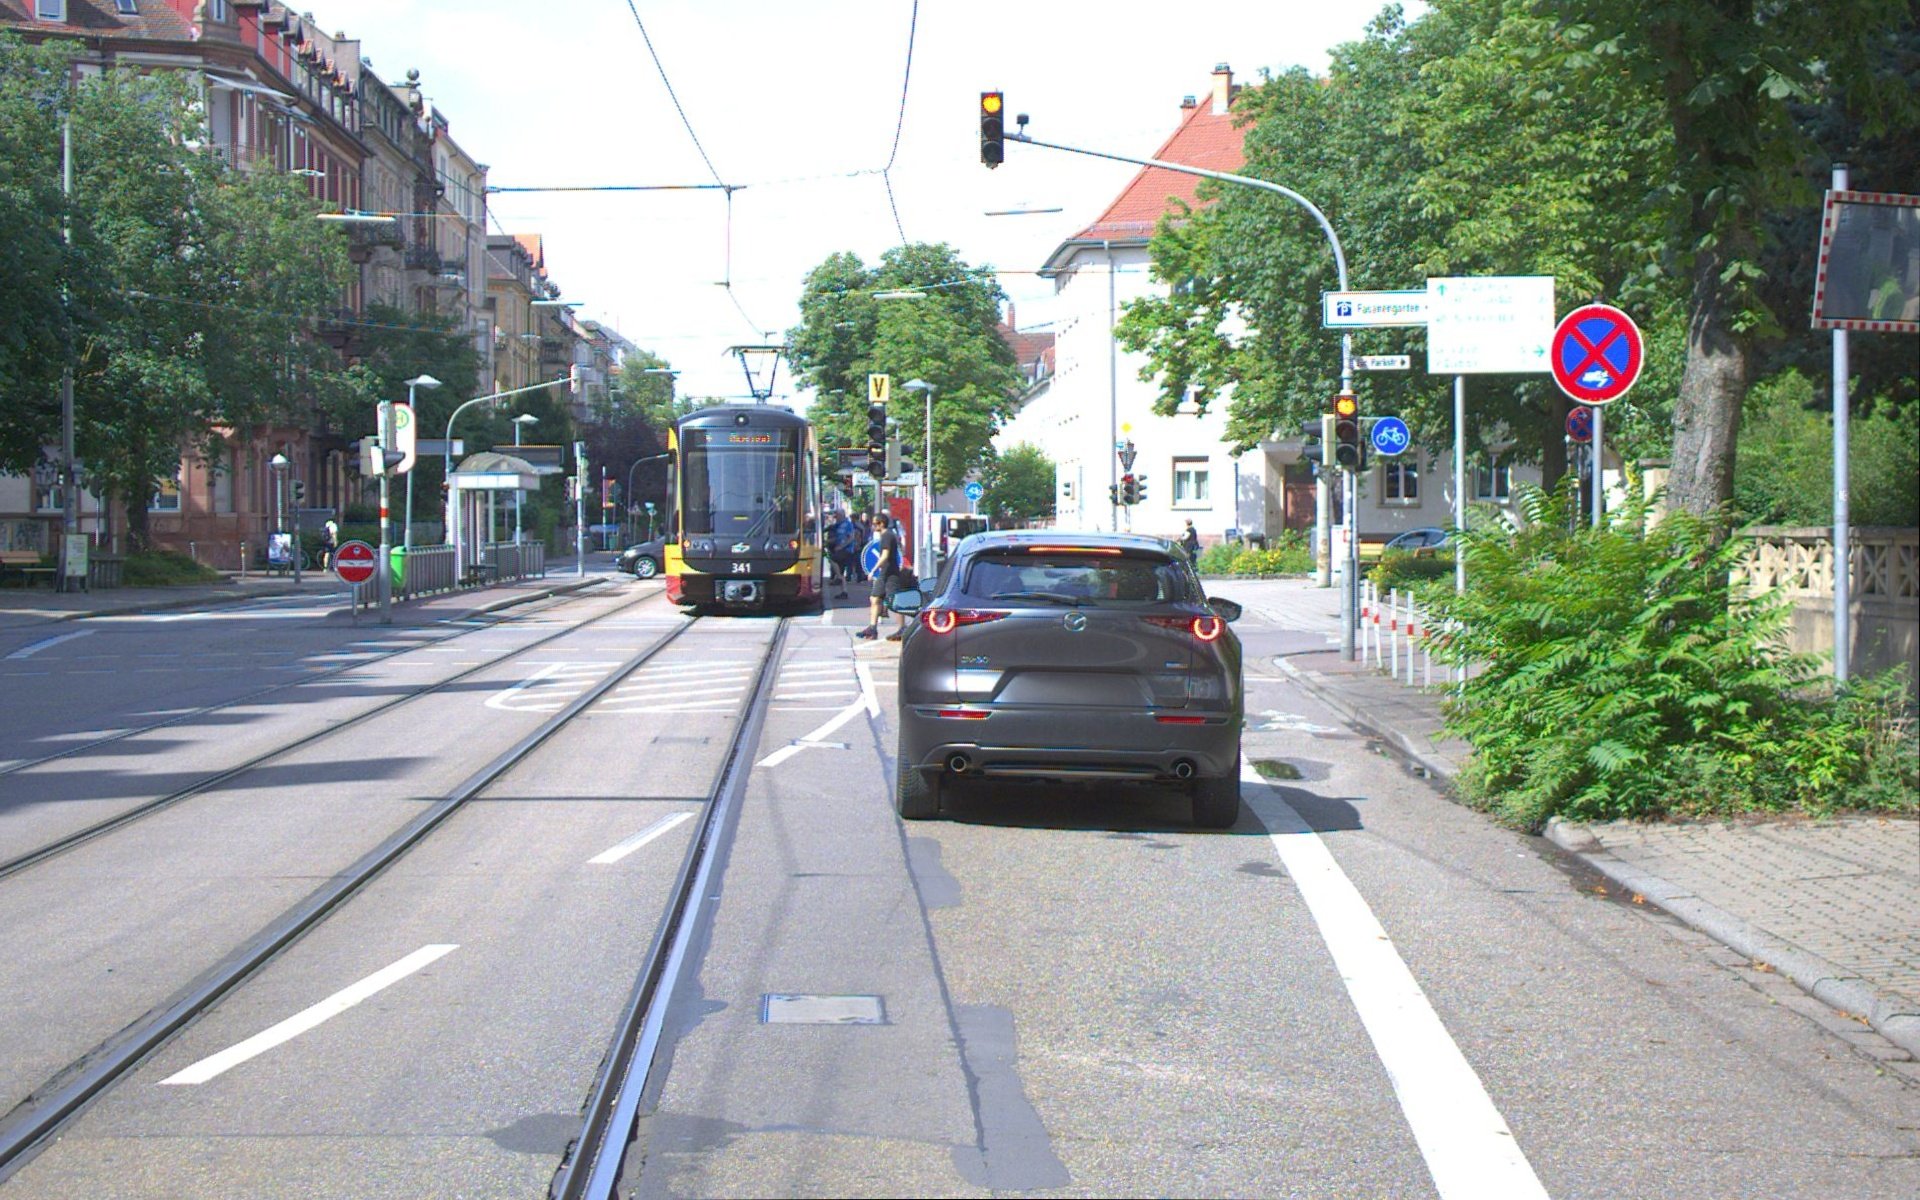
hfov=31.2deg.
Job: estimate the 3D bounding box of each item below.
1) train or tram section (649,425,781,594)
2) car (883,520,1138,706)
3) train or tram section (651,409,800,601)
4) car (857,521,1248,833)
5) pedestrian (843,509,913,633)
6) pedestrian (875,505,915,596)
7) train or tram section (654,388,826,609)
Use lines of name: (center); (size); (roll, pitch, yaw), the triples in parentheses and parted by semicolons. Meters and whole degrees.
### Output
train or tram section: (-5.525, -1.980, 76.457); (2.651, 3.515, 8.498); (-1, 1, -5)
car: (0.362, 0.048, 30.670); (1.784, 1.487, 4.884); (-1, 2, -5)
train or tram section: (-4.720, -1.841, 67.979); (2.651, 3.515, 8.498); (-1, 1, -5)
car: (0.399, 0.336, 19.254); (1.789, 1.507, 4.351); (1, 2, -4)
pedestrian: (-1.072, -0.380, 44.832); (0.874, 1.599, 0.632); (0, 1, -5)
pedestrian: (-1.151, -0.876, 60.480); (0.667, 1.599, 0.700); (0, 1, -4)
train or tram section: (-3.908, -1.710, 59.510); (2.651, 3.515, 8.498); (-1, 1, -5)
